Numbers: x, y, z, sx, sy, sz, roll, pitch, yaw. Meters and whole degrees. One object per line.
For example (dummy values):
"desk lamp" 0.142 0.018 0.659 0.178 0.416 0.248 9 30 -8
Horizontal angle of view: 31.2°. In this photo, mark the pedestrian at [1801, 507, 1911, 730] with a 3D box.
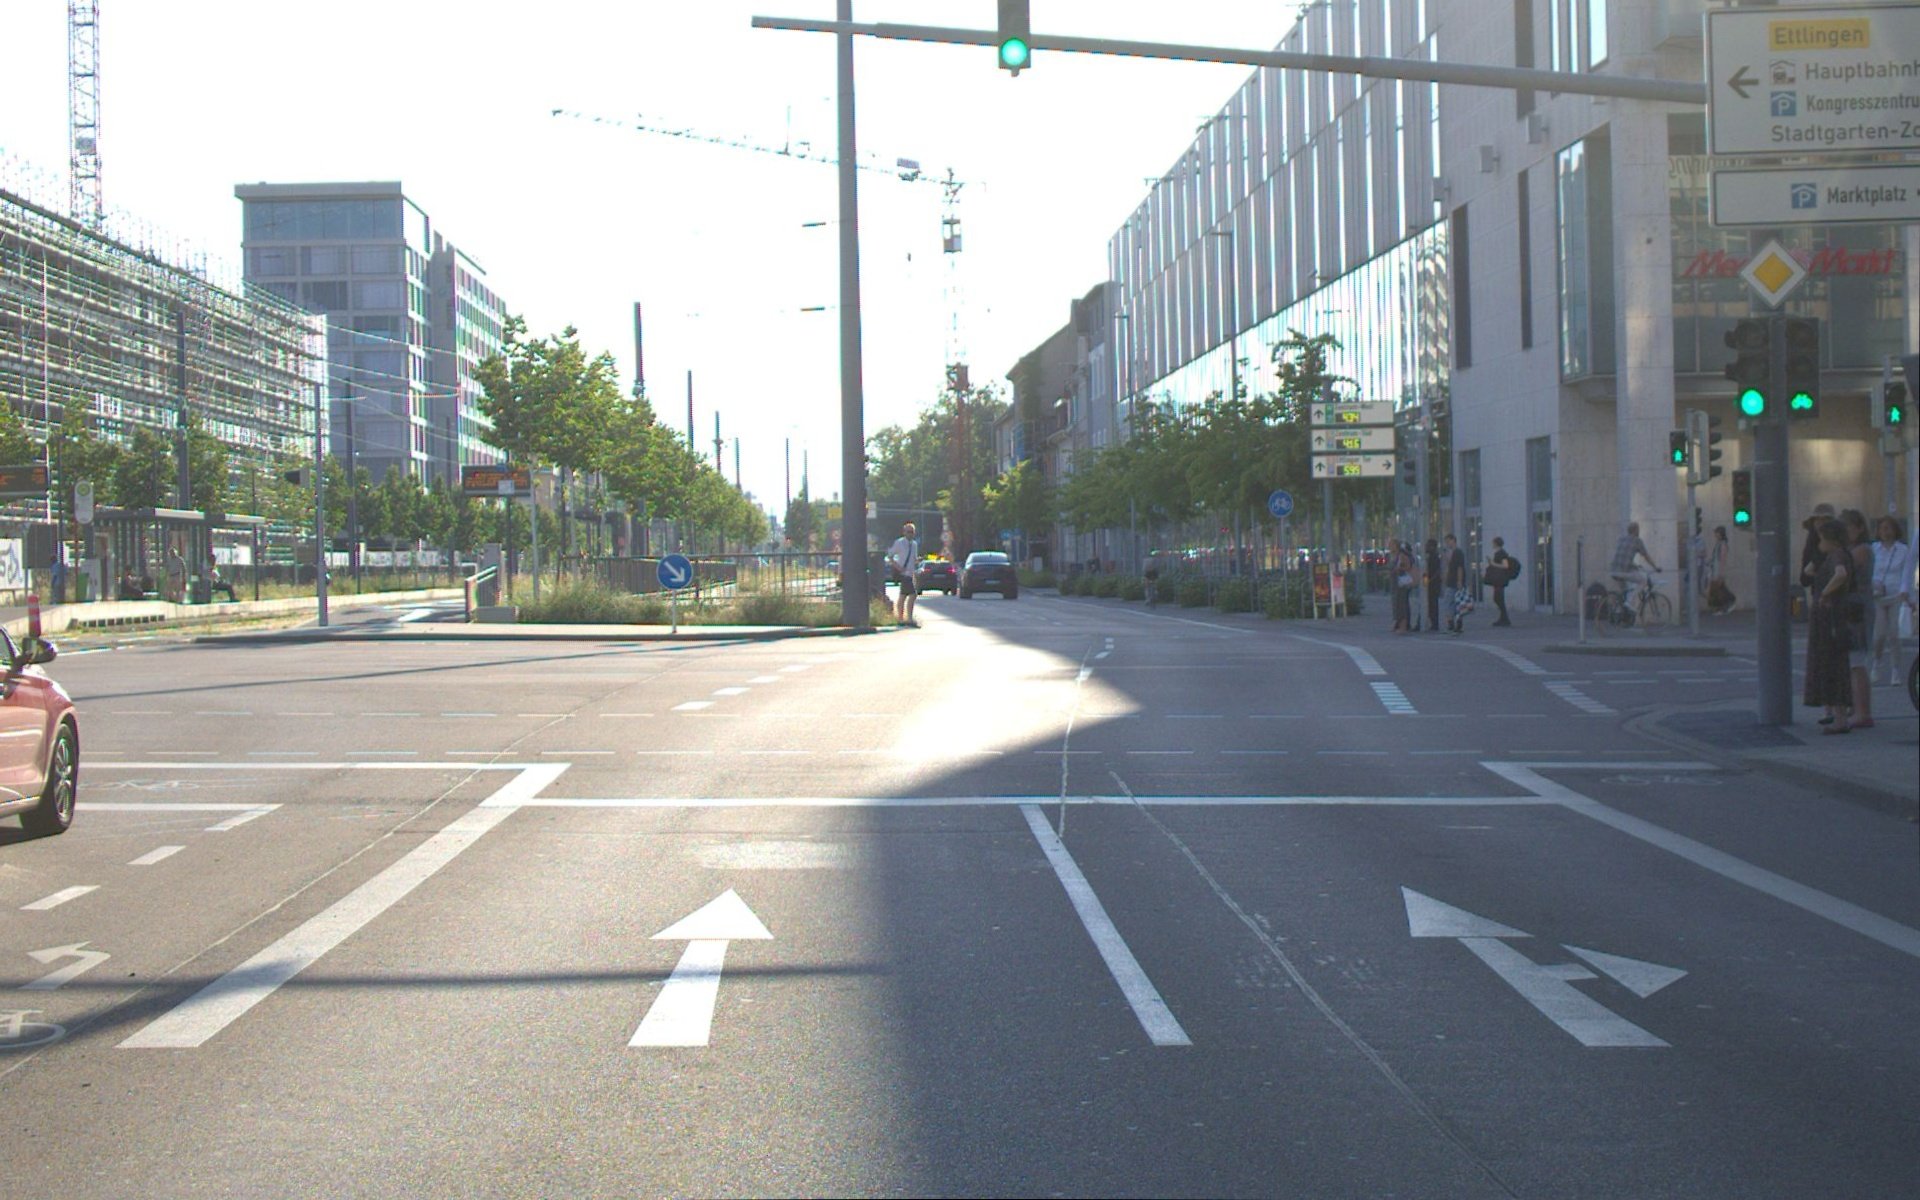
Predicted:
"pedestrian" 7.017 0.139 26.943 0.634 1.697 0.570 -3 1 -1

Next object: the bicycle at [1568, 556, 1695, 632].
"bicycle" 11.061 -0.106 56.580 2.257 1.200 0.802 -2 1 -40

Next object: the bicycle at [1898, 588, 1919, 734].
"bicycle" 8.063 0.422 25.941 1.803 1.082 0.479 -2 1 0

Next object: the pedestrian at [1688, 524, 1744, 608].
"pedestrian" 14.644 -0.658 66.609 0.870 1.580 0.824 -3 1 2

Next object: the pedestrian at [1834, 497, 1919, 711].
"pedestrian" 9.119 0.029 33.885 0.766 2.053 0.797 -3 1 5

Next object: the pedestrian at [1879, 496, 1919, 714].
"pedestrian" 9.310 0.025 32.940 0.766 2.053 0.797 -3 1 5

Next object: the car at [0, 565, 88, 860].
"car" -5.537 0.557 16.801 1.703 1.423 3.926 0 1 -2

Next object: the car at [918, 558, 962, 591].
"car" -0.913 -1.162 154.119 1.703 1.423 3.926 -1 1 -3

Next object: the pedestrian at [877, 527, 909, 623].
"pedestrian" -1.231 -0.463 63.200 0.492 1.737 0.447 -1 1 -11

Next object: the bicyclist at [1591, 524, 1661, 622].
"bicyclist" 10.933 -0.445 56.467 0.783 1.596 0.802 -1 1 -39

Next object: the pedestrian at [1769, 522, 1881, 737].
"pedestrian" 6.633 0.219 26.382 0.634 1.602 0.570 -3 1 -1

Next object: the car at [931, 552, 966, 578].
"car" -0.672 -1.976 192.687 1.703 1.423 3.926 -1 1 -3

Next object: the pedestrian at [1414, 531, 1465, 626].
"pedestrian" 8.823 -0.402 63.286 0.817 1.728 0.790 -1 1 2

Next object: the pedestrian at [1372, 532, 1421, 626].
"pedestrian" 8.197 -0.402 64.561 0.817 1.728 0.790 -1 1 2

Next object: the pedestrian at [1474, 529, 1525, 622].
"pedestrian" 10.093 -0.462 64.301 0.817 1.728 0.790 -1 1 2

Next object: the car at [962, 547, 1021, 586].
"car" 1.161 -1.270 128.938 1.940 1.423 3.926 -1 1 -3
